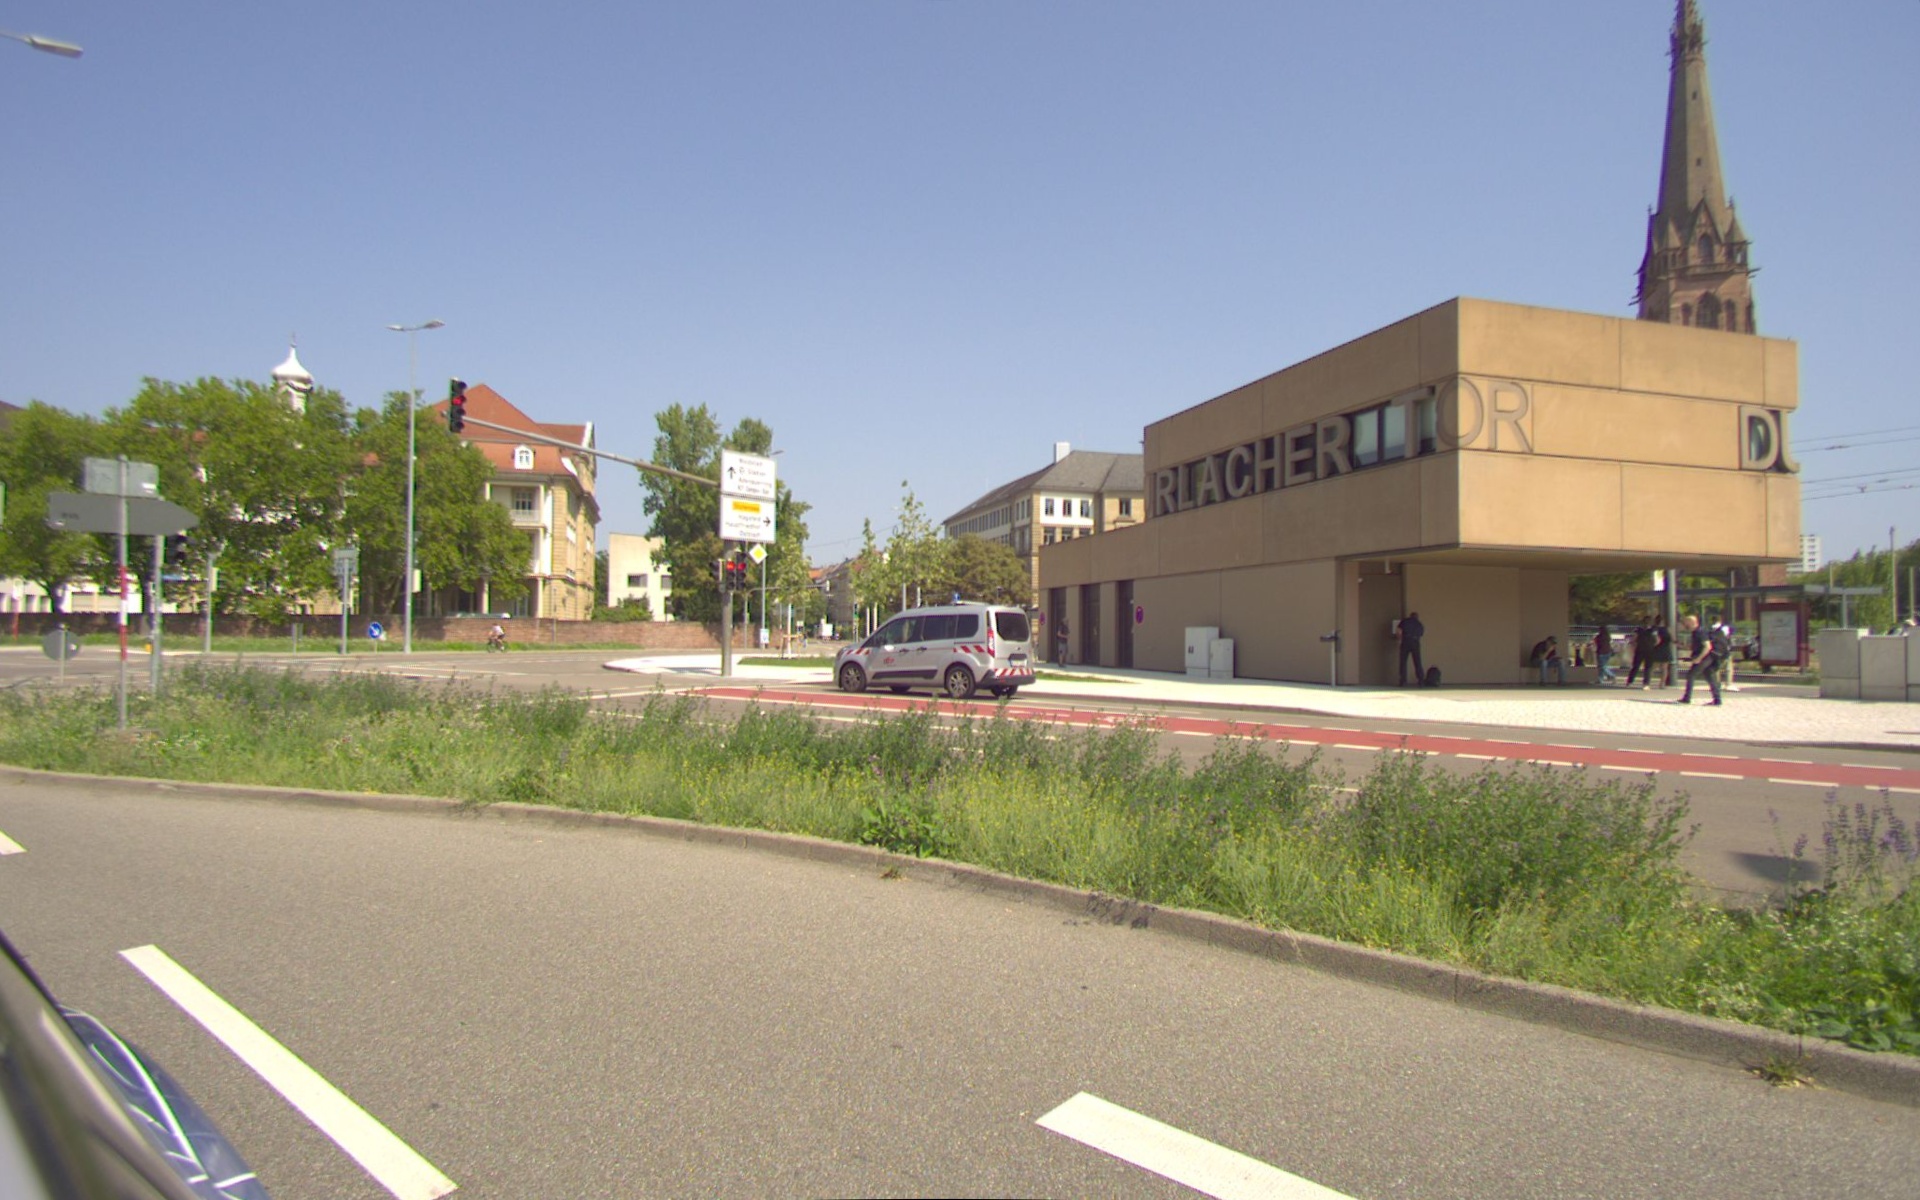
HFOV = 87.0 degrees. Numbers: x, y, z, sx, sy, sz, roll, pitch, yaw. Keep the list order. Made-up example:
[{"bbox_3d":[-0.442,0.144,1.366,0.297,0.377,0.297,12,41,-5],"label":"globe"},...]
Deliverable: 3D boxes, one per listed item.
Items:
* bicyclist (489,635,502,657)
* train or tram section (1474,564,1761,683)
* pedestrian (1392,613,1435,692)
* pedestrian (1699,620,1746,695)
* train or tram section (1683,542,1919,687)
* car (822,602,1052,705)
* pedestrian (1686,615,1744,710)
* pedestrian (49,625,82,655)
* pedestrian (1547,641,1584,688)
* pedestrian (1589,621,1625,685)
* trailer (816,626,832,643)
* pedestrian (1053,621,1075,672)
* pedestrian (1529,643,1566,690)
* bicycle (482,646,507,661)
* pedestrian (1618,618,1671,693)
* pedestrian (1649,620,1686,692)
[{"bbox_3d":[-26.874,2.649,58.540,0.429,1.242,0.538,0,-2,16],"label":"bicyclist"},{"bbox_3d":[22.421,0.977,35.291,3.091,3.597,8.268,3,-4,-17],"label":"train or tram section"},{"bbox_3d":[9.937,1.141,22.207,0.740,1.701,0.630,0,-2,15],"label":"pedestrian"},{"bbox_3d":[17.583,1.309,23.342,0.809,1.682,0.544,-1,-3,40],"label":"pedestrian"},{"bbox_3d":[24.852,0.517,27.427,3.091,3.597,8.268,3,-4,-17],"label":"train or tram section"},{"bbox_3d":[-0.510,1.084,20.511,4.325,1.874,1.976,-1,-5,36],"label":"car"},{"bbox_3d":[14.050,1.146,18.838,0.809,1.715,0.638,-1,-3,40],"label":"pedestrian"},{"bbox_3d":[-62.142,2.775,70.319,1.217,2.029,1.072,1,-3,-1],"label":"pedestrian"},{"bbox_3d":[14.201,1.510,23.735,0.531,1.092,0.502,1,-2,-17],"label":"pedestrian"},{"bbox_3d":[16.813,1.370,26.307,0.483,1.626,0.572,1,-2,-8],"label":"pedestrian"},{"bbox_3d":[-28.078,7.141,208.547,2.400,3.313,5.104,1,-3,-19],"label":"trailer"},{"bbox_3d":[3.488,1.572,33.902,0.559,1.691,0.537,1,-3,-17],"label":"pedestrian"},{"bbox_3d":[13.671,1.542,23.564,0.531,1.092,0.502,1,-2,-17],"label":"pedestrian"},{"bbox_3d":[-26.889,3.071,58.487,0.433,0.818,1.478,0,-2,16],"label":"bicycle"},{"bbox_3d":[15.178,1.229,22.447,0.628,1.626,0.694,1,-2,-11],"label":"pedestrian"},{"bbox_3d":[16.297,1.281,23.315,0.485,1.626,0.509,0,-2,7],"label":"pedestrian"}]
